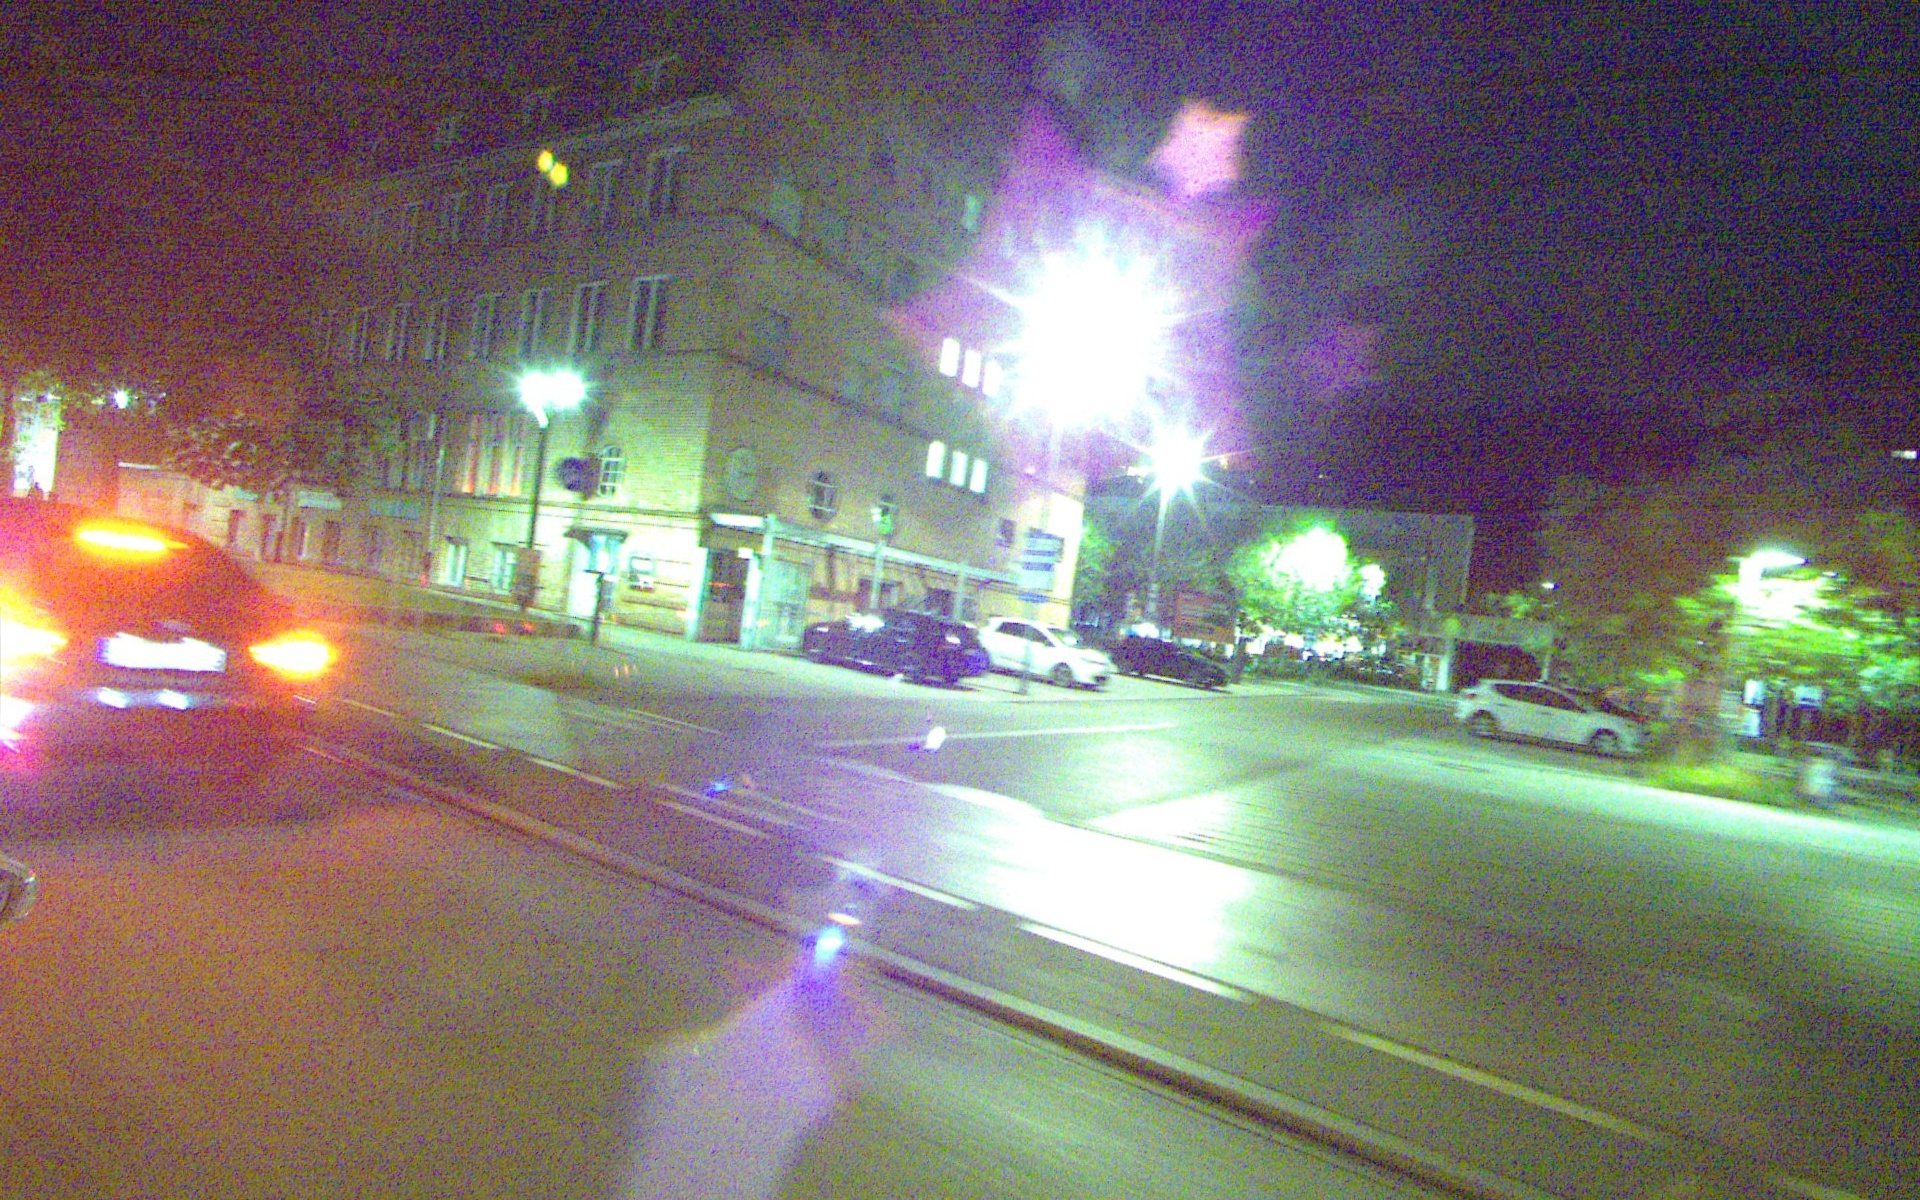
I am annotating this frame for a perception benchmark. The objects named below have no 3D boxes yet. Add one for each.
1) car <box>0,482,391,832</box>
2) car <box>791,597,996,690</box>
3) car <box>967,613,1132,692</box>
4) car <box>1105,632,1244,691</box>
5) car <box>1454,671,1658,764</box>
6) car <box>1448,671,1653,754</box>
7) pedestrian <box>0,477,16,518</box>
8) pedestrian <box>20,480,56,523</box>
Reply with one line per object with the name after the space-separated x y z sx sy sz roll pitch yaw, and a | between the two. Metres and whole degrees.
-5.720 0.107 6.201 4.653 1.510 1.808 7 -3 34 | car
-1.531 0.923 22.038 4.411 1.412 1.513 7 0 35 | car
2.367 1.396 27.090 3.937 1.552 1.783 7 0 35 | car
7.474 2.146 35.133 4.171 1.446 1.996 7 0 32 | car
14.567 2.822 24.730 4.032 1.552 1.770 7 0 33 | car
16.859 3.167 28.921 4.811 1.531 1.891 7 0 32 | car
-43.452 -4.673 45.532 0.892 1.791 0.739 8 1 33 | pedestrian
-42.630 -4.552 46.508 0.892 1.791 0.901 8 1 33 | pedestrian
